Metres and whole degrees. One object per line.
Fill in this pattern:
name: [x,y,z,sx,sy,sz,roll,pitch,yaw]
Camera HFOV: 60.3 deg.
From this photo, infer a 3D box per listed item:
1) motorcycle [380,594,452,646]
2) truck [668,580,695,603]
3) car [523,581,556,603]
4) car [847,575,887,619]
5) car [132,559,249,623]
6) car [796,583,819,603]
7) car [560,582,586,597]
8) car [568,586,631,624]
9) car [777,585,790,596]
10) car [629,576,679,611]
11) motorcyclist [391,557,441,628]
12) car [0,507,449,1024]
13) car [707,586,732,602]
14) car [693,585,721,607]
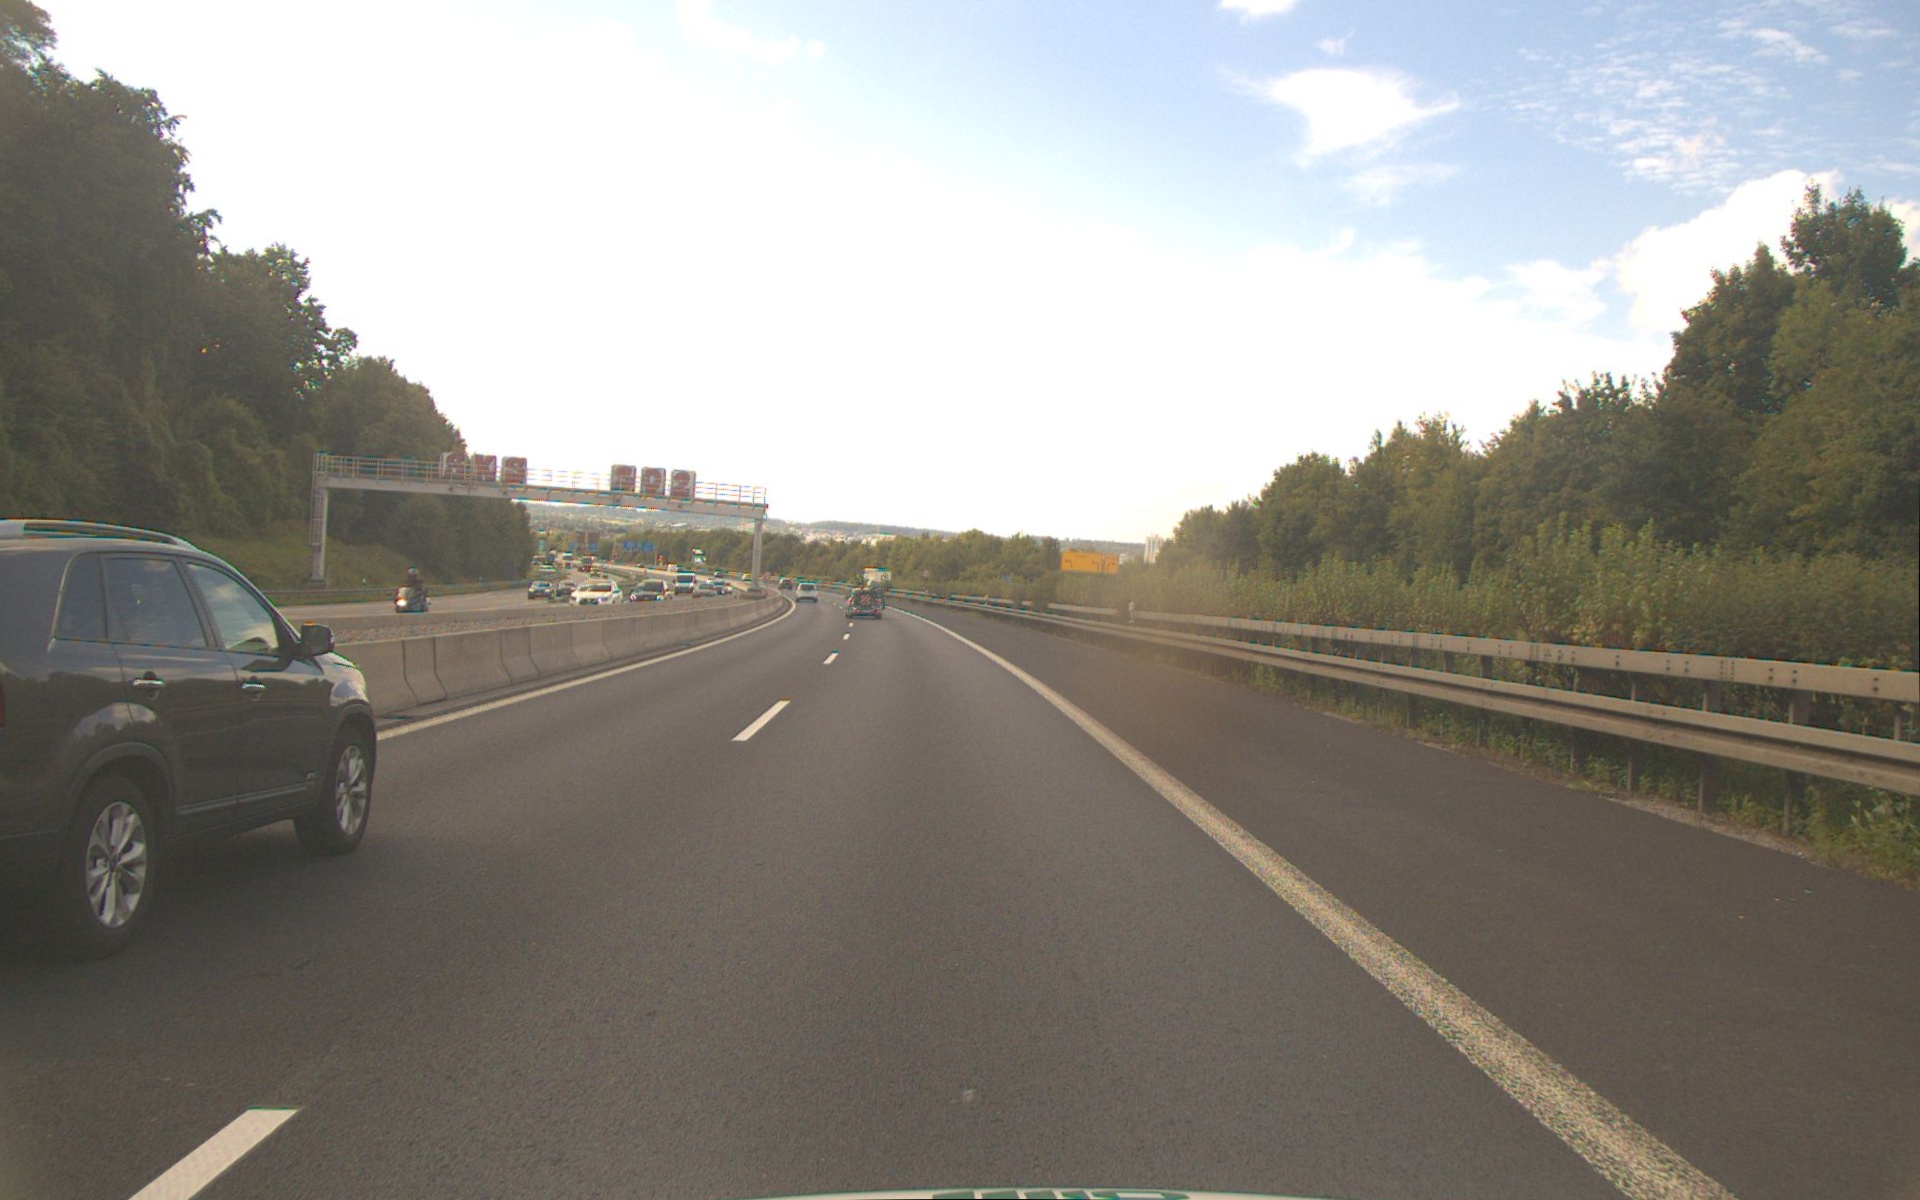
motorcycle: [-13.189,0.472,40.191,0.904,1.209,2.639,1,0,-1]
truck: [-28.646,-0.866,170.289,2.140,2.265,5.567,1,0,-4]
car: [-32.472,-0.636,127.863,1.770,1.601,4.553,1,0,-6]
car: [-4.894,-0.171,87.287,1.990,2.189,3.998,1,1,-3]
car: [-26.672,-0.315,57.526,1.985,2.070,4.778,1,0,-3]
car: [-13.958,-0.608,150.985,1.956,1.713,3.994,1,0,-7]
car: [-35.195,-0.945,150.548,1.788,1.334,4.181,1,0,-7]
car: [-14.915,0.208,68.547,1.725,1.486,4.294,1,0,-1]
car: [-27.042,-1.464,253.669,1.576,1.585,3.989,1,0,-11]
car: [-15.761,-0.335,85.259,1.838,1.727,4.313,1,0,-1]
motorcyclist: [-13.161,-0.184,40.026,0.877,1.662,0.922,1,0,-1]
car: [-4.169,0.532,8.004,1.780,1.766,5.186,1,0,0]
car: [-23.785,-0.627,163.697,1.954,1.563,5.281,1,0,-4]
car: [-19.120,-0.322,125.198,1.665,1.566,4.497,1,0,-4]
